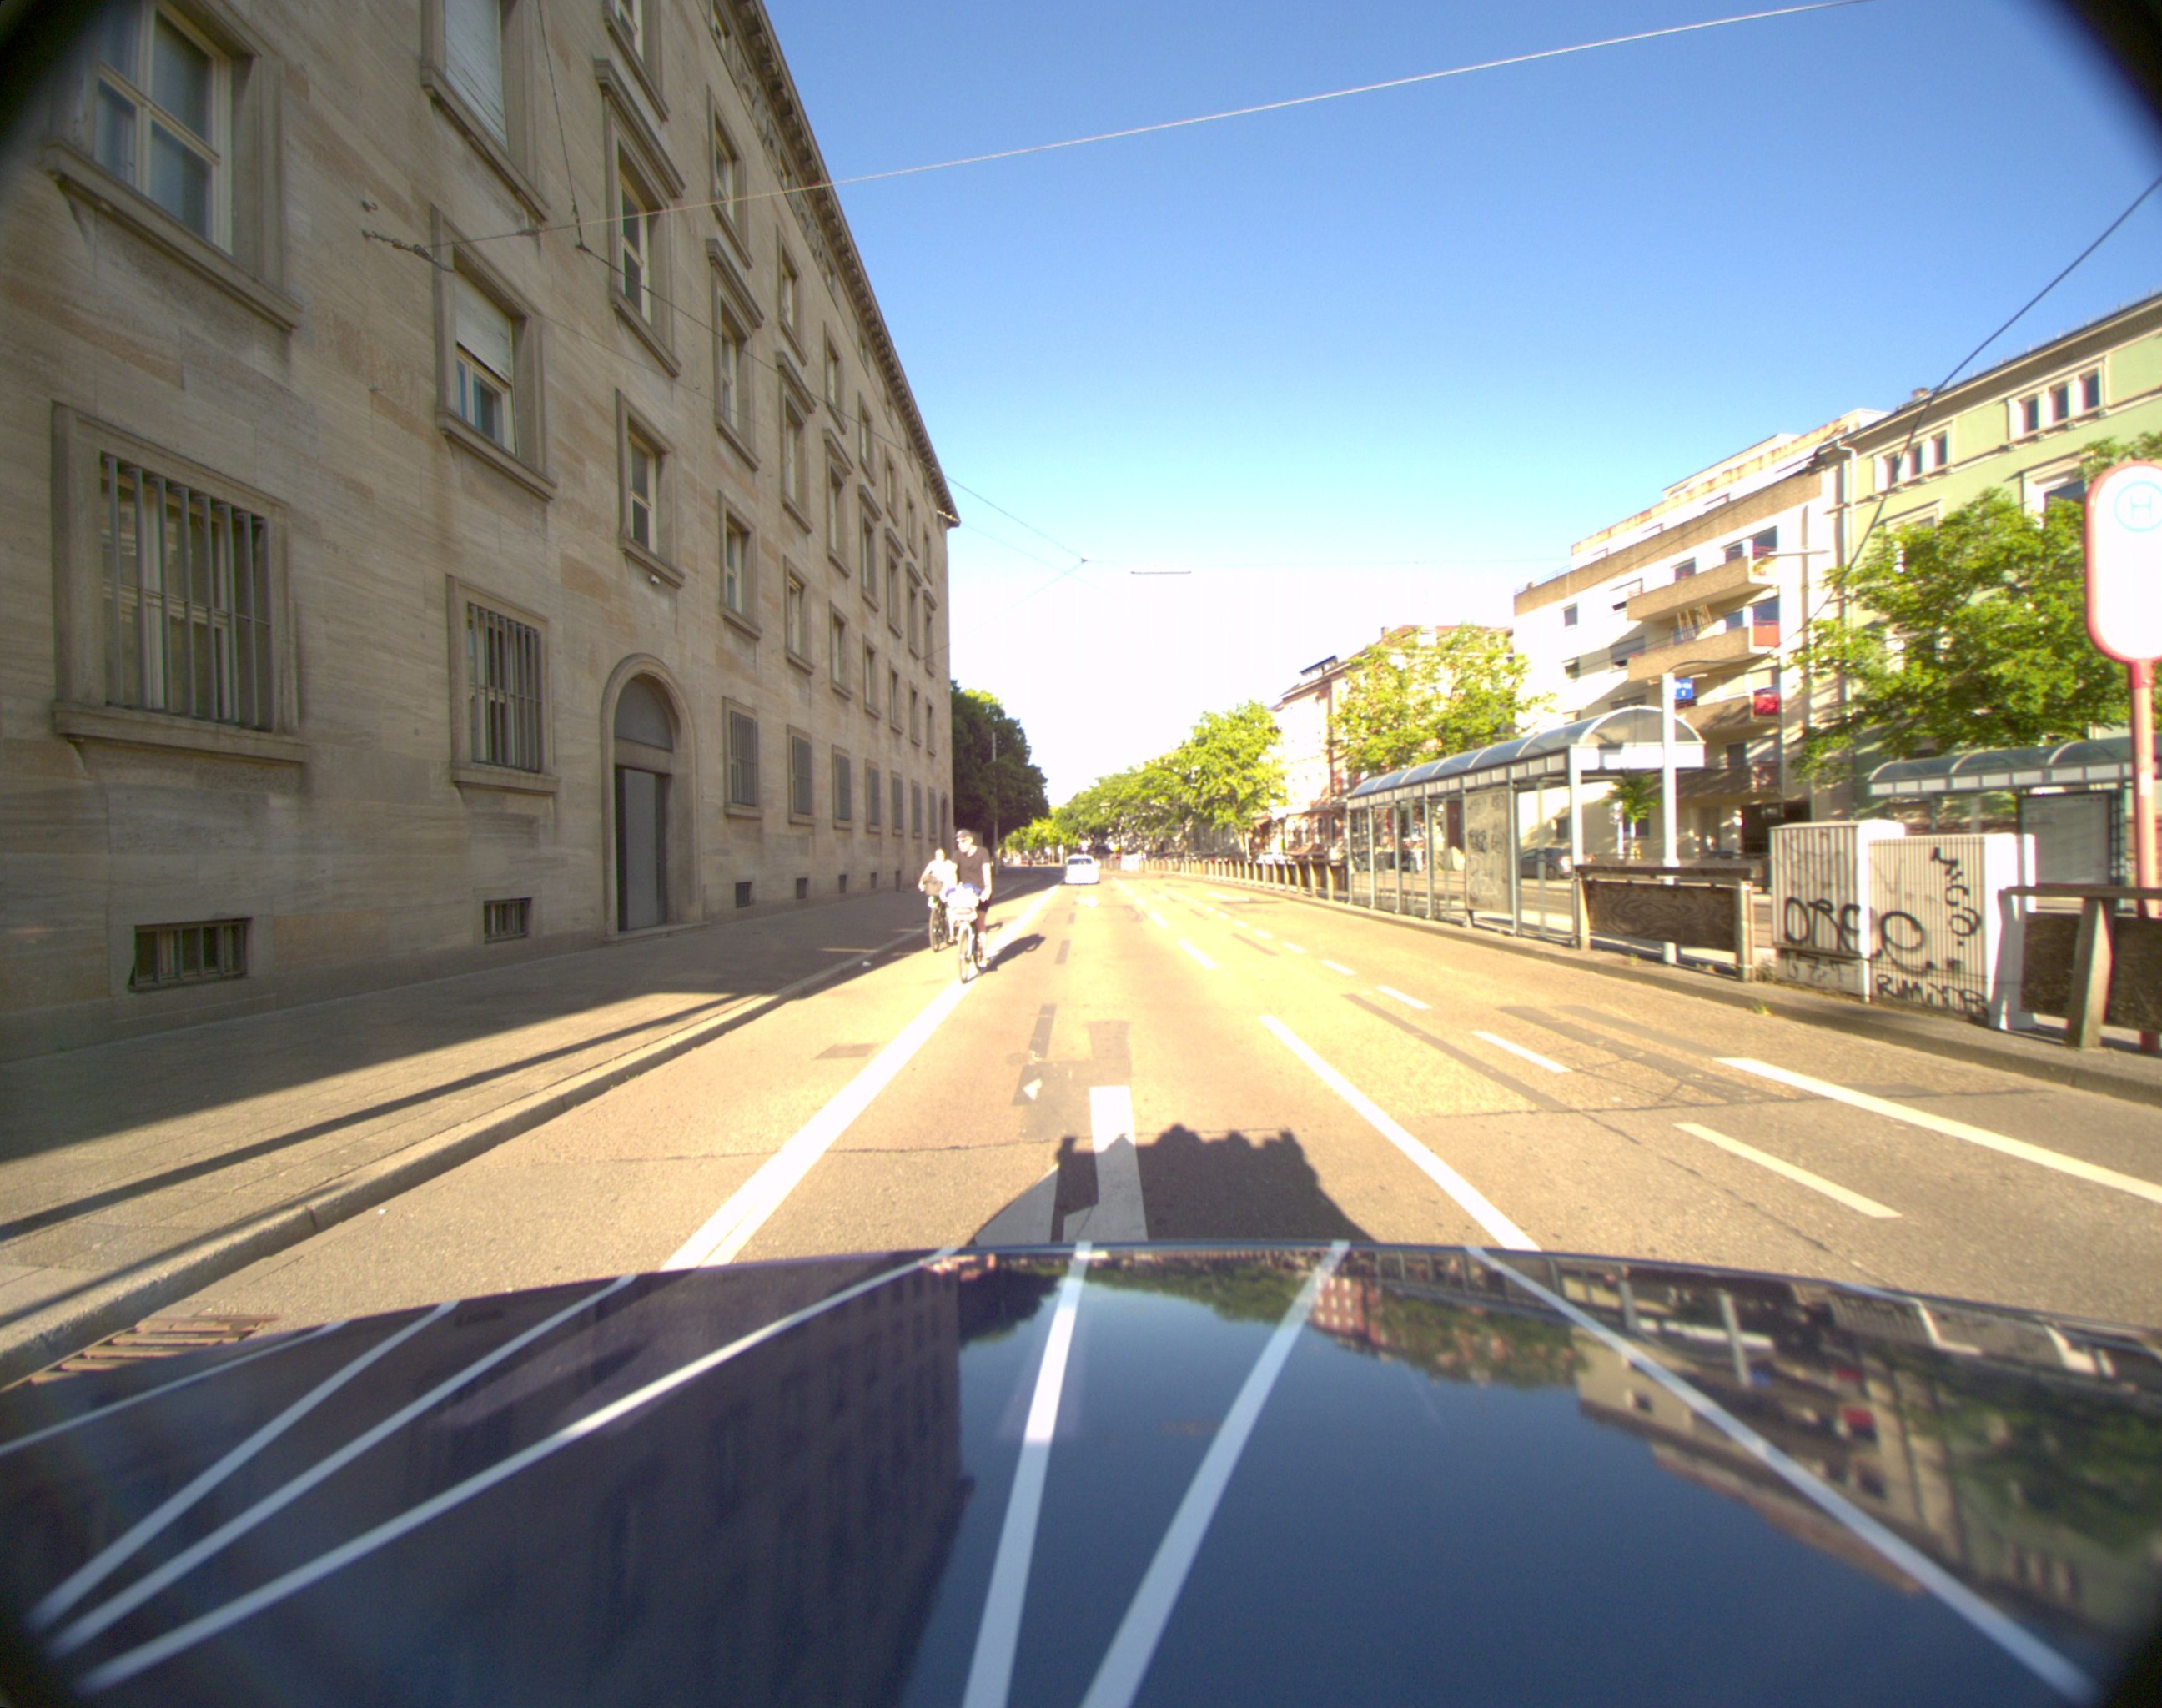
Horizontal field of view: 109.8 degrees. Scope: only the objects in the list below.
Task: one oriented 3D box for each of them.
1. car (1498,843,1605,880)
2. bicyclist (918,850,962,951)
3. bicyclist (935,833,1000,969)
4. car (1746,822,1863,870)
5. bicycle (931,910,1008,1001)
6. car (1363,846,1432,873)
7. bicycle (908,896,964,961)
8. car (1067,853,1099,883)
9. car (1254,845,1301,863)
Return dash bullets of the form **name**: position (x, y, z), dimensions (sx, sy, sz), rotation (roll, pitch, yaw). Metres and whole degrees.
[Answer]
- **car**: position (21.000, 0.322, 34.110), dimensions (2.000, 1.521, 3.997), rotation (-1, 0, -8)
- **bicyclist**: position (-2.400, 0.772, 12.983), dimensions (0.523, 1.670, 0.859), rotation (-1, 1, 3)
- **bicyclist**: position (-1.431, 0.578, 9.647), dimensions (0.671, 1.668, 0.657), rotation (-1, 1, 2)
- **car**: position (31.395, -0.357, 32.999), dimensions (4.001, 2.002, 1.798), rotation (-1, 1, -13)
- **bicycle**: position (-1.377, 1.238, 9.726), dimensions (0.390, 0.900, 1.952), rotation (-1, 0, 9)
- **car**: position (18.618, 0.312, 44.841), dimensions (2.000, 1.521, 3.997), rotation (-1, 0, -8)
- **bicycle**: position (-2.399, 1.214, 12.771), dimensions (0.427, 0.871, 1.951), rotation (-1, 1, 4)
- **car**: position (0.115, 0.704, 39.227), dimensions (1.571, 1.455, 3.687), rotation (-1, 0, 1)
- **car**: position (16.350, -0.019, 63.208), dimensions (3.648, 1.342, 1.578), rotation (-2, 1, -29)
